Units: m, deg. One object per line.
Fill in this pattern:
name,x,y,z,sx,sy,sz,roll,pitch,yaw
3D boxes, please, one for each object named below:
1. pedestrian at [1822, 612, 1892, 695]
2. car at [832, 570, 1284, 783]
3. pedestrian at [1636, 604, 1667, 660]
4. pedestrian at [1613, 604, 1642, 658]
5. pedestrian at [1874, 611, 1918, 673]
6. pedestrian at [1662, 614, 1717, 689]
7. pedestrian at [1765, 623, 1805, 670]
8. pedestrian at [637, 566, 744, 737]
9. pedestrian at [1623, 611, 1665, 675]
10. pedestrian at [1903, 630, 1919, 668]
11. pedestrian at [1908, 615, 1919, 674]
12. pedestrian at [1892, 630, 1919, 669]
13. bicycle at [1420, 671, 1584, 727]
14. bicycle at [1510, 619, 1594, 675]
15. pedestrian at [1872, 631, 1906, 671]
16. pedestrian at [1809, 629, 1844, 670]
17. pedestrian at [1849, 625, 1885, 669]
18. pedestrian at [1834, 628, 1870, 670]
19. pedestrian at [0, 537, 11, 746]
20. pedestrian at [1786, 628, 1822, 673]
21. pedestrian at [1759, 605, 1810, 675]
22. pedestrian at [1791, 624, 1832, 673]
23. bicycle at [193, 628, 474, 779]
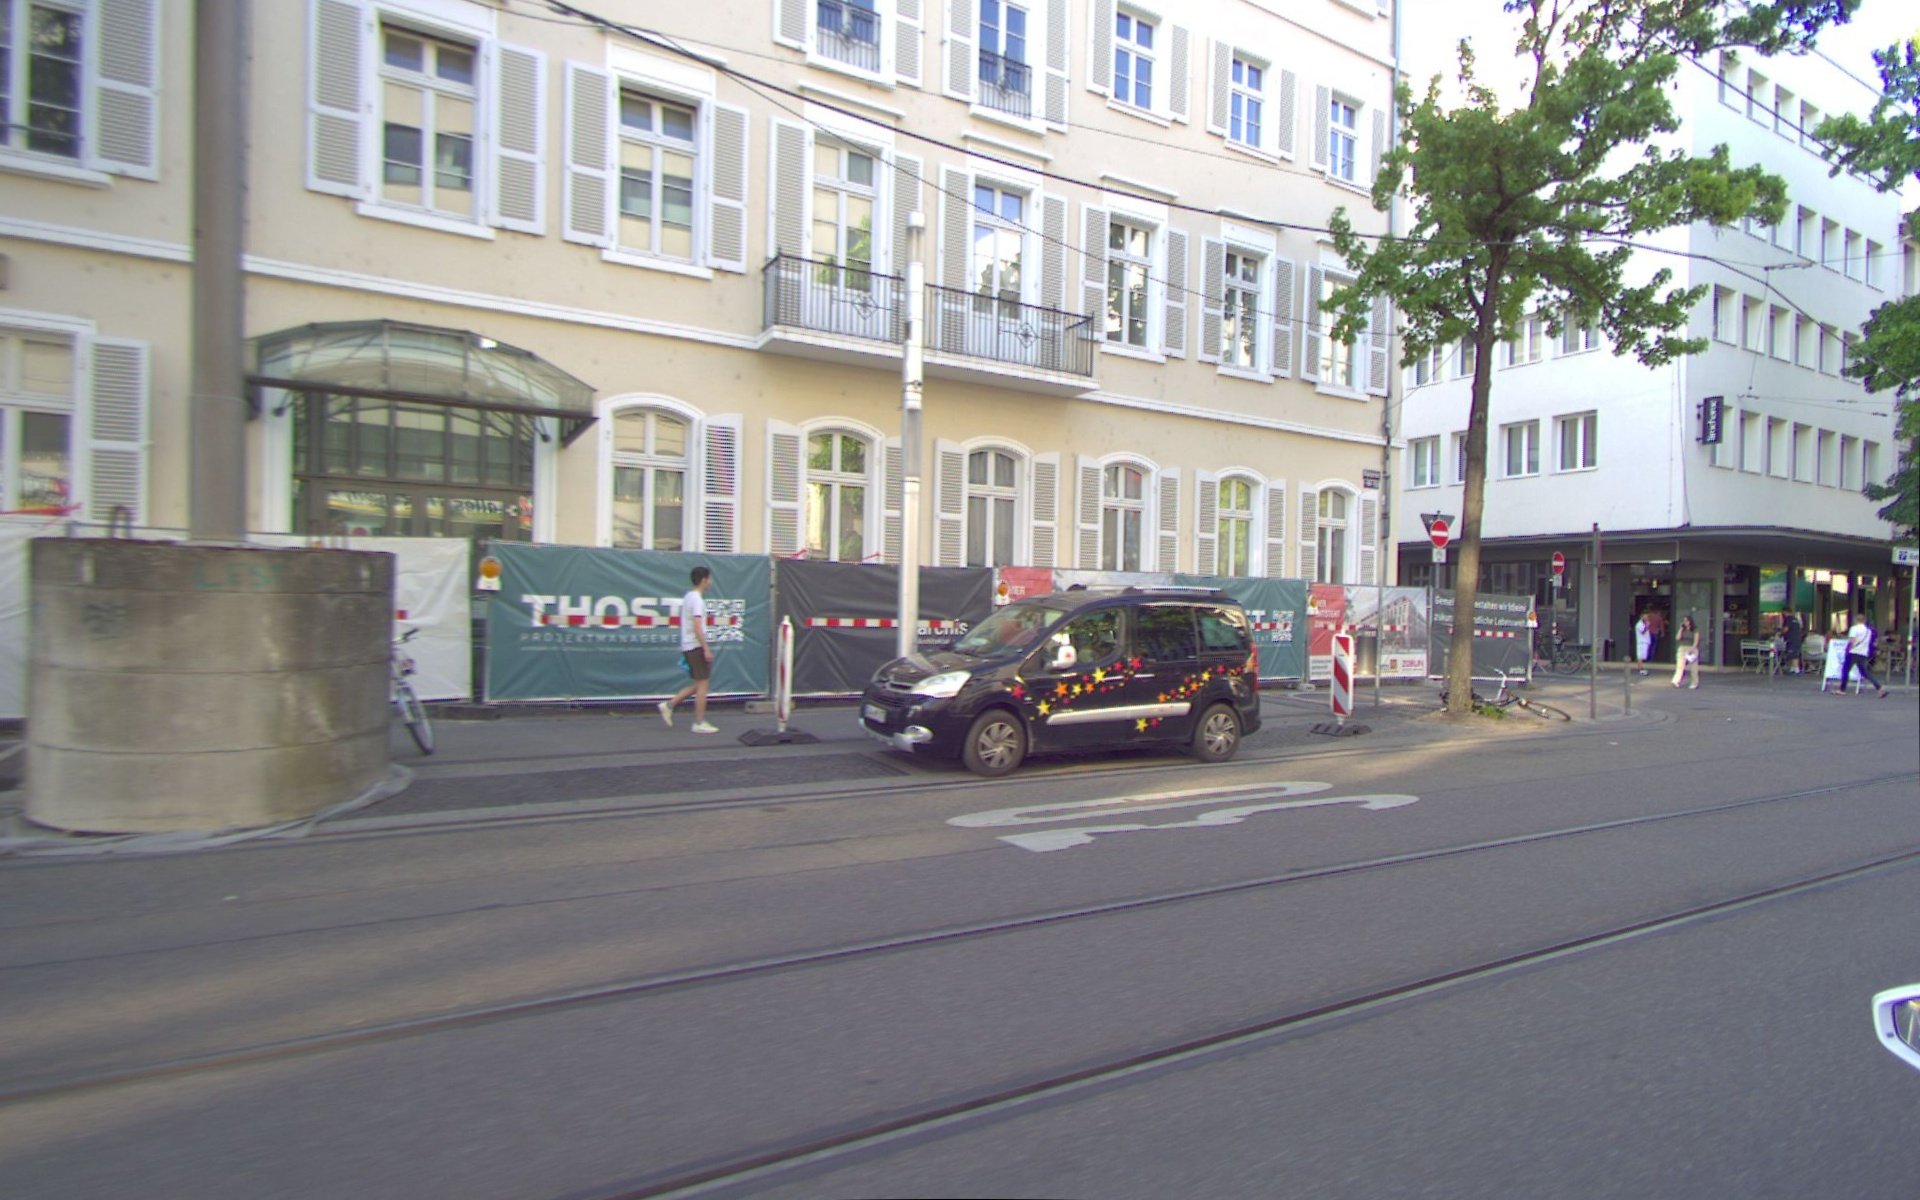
pedestrian,19.681,1.149,22.048,0.851,1.764,0.796,0,1,-14
car,1.100,0.699,10.668,4.502,1.857,1.850,1,1,-29
pedestrian,20.506,0.942,29.794,0.608,1.625,0.405,1,0,4
pedestrian,20.555,0.950,30.929,0.608,1.625,0.405,1,0,4
pedestrian,27.336,1.217,29.339,0.688,1.780,0.675,1,2,-28
pedestrian,16.937,1.177,23.322,0.955,1.678,0.704,0,0,-28
pedestrian,23.697,1.334,28.854,0.730,1.286,0.642,1,2,-29
pedestrian,-3.024,0.548,11.245,0.972,1.816,0.771,1,2,-28
pedestrian,18.308,1.136,26.879,0.787,1.636,0.861,1,3,44
pedestrian,30.889,1.582,32.290,0.679,1.190,0.599,1,2,-29
pedestrian,27.911,1.287,28.942,0.689,1.693,0.616,1,2,-30
pedestrian,30.039,1.554,31.817,0.678,1.177,0.550,1,2,-29
bicycle,8.192,1.471,15.261,1.265,0.617,1.789,1,1,-26
bicycle,16.026,1.253,27.240,0.703,1.399,1.867,-2,1,-27
pedestrian,28.857,1.575,31.211,0.678,1.177,0.550,1,2,-29
pedestrian,25.990,1.486,30.119,0.678,1.177,0.550,1,2,-29
pedestrian,28.079,1.451,31.103,0.678,1.316,0.599,1,2,-29
pedestrian,26.418,1.450,29.752,0.678,1.177,0.550,1,2,-29
pedestrian,-8.748,0.368,8.513,0.866,1.837,0.715,1,3,-30
pedestrian,24.386,1.453,29.038,0.678,1.252,0.550,1,2,-29
pedestrian,22.342,1.088,27.213,0.751,1.840,0.685,2,2,-14
pedestrian,23.947,1.354,28.239,0.719,1.299,0.624,1,2,-29
bicycle,-5.545,0.856,8.972,2.030,1.137,0.751,1,3,-41
